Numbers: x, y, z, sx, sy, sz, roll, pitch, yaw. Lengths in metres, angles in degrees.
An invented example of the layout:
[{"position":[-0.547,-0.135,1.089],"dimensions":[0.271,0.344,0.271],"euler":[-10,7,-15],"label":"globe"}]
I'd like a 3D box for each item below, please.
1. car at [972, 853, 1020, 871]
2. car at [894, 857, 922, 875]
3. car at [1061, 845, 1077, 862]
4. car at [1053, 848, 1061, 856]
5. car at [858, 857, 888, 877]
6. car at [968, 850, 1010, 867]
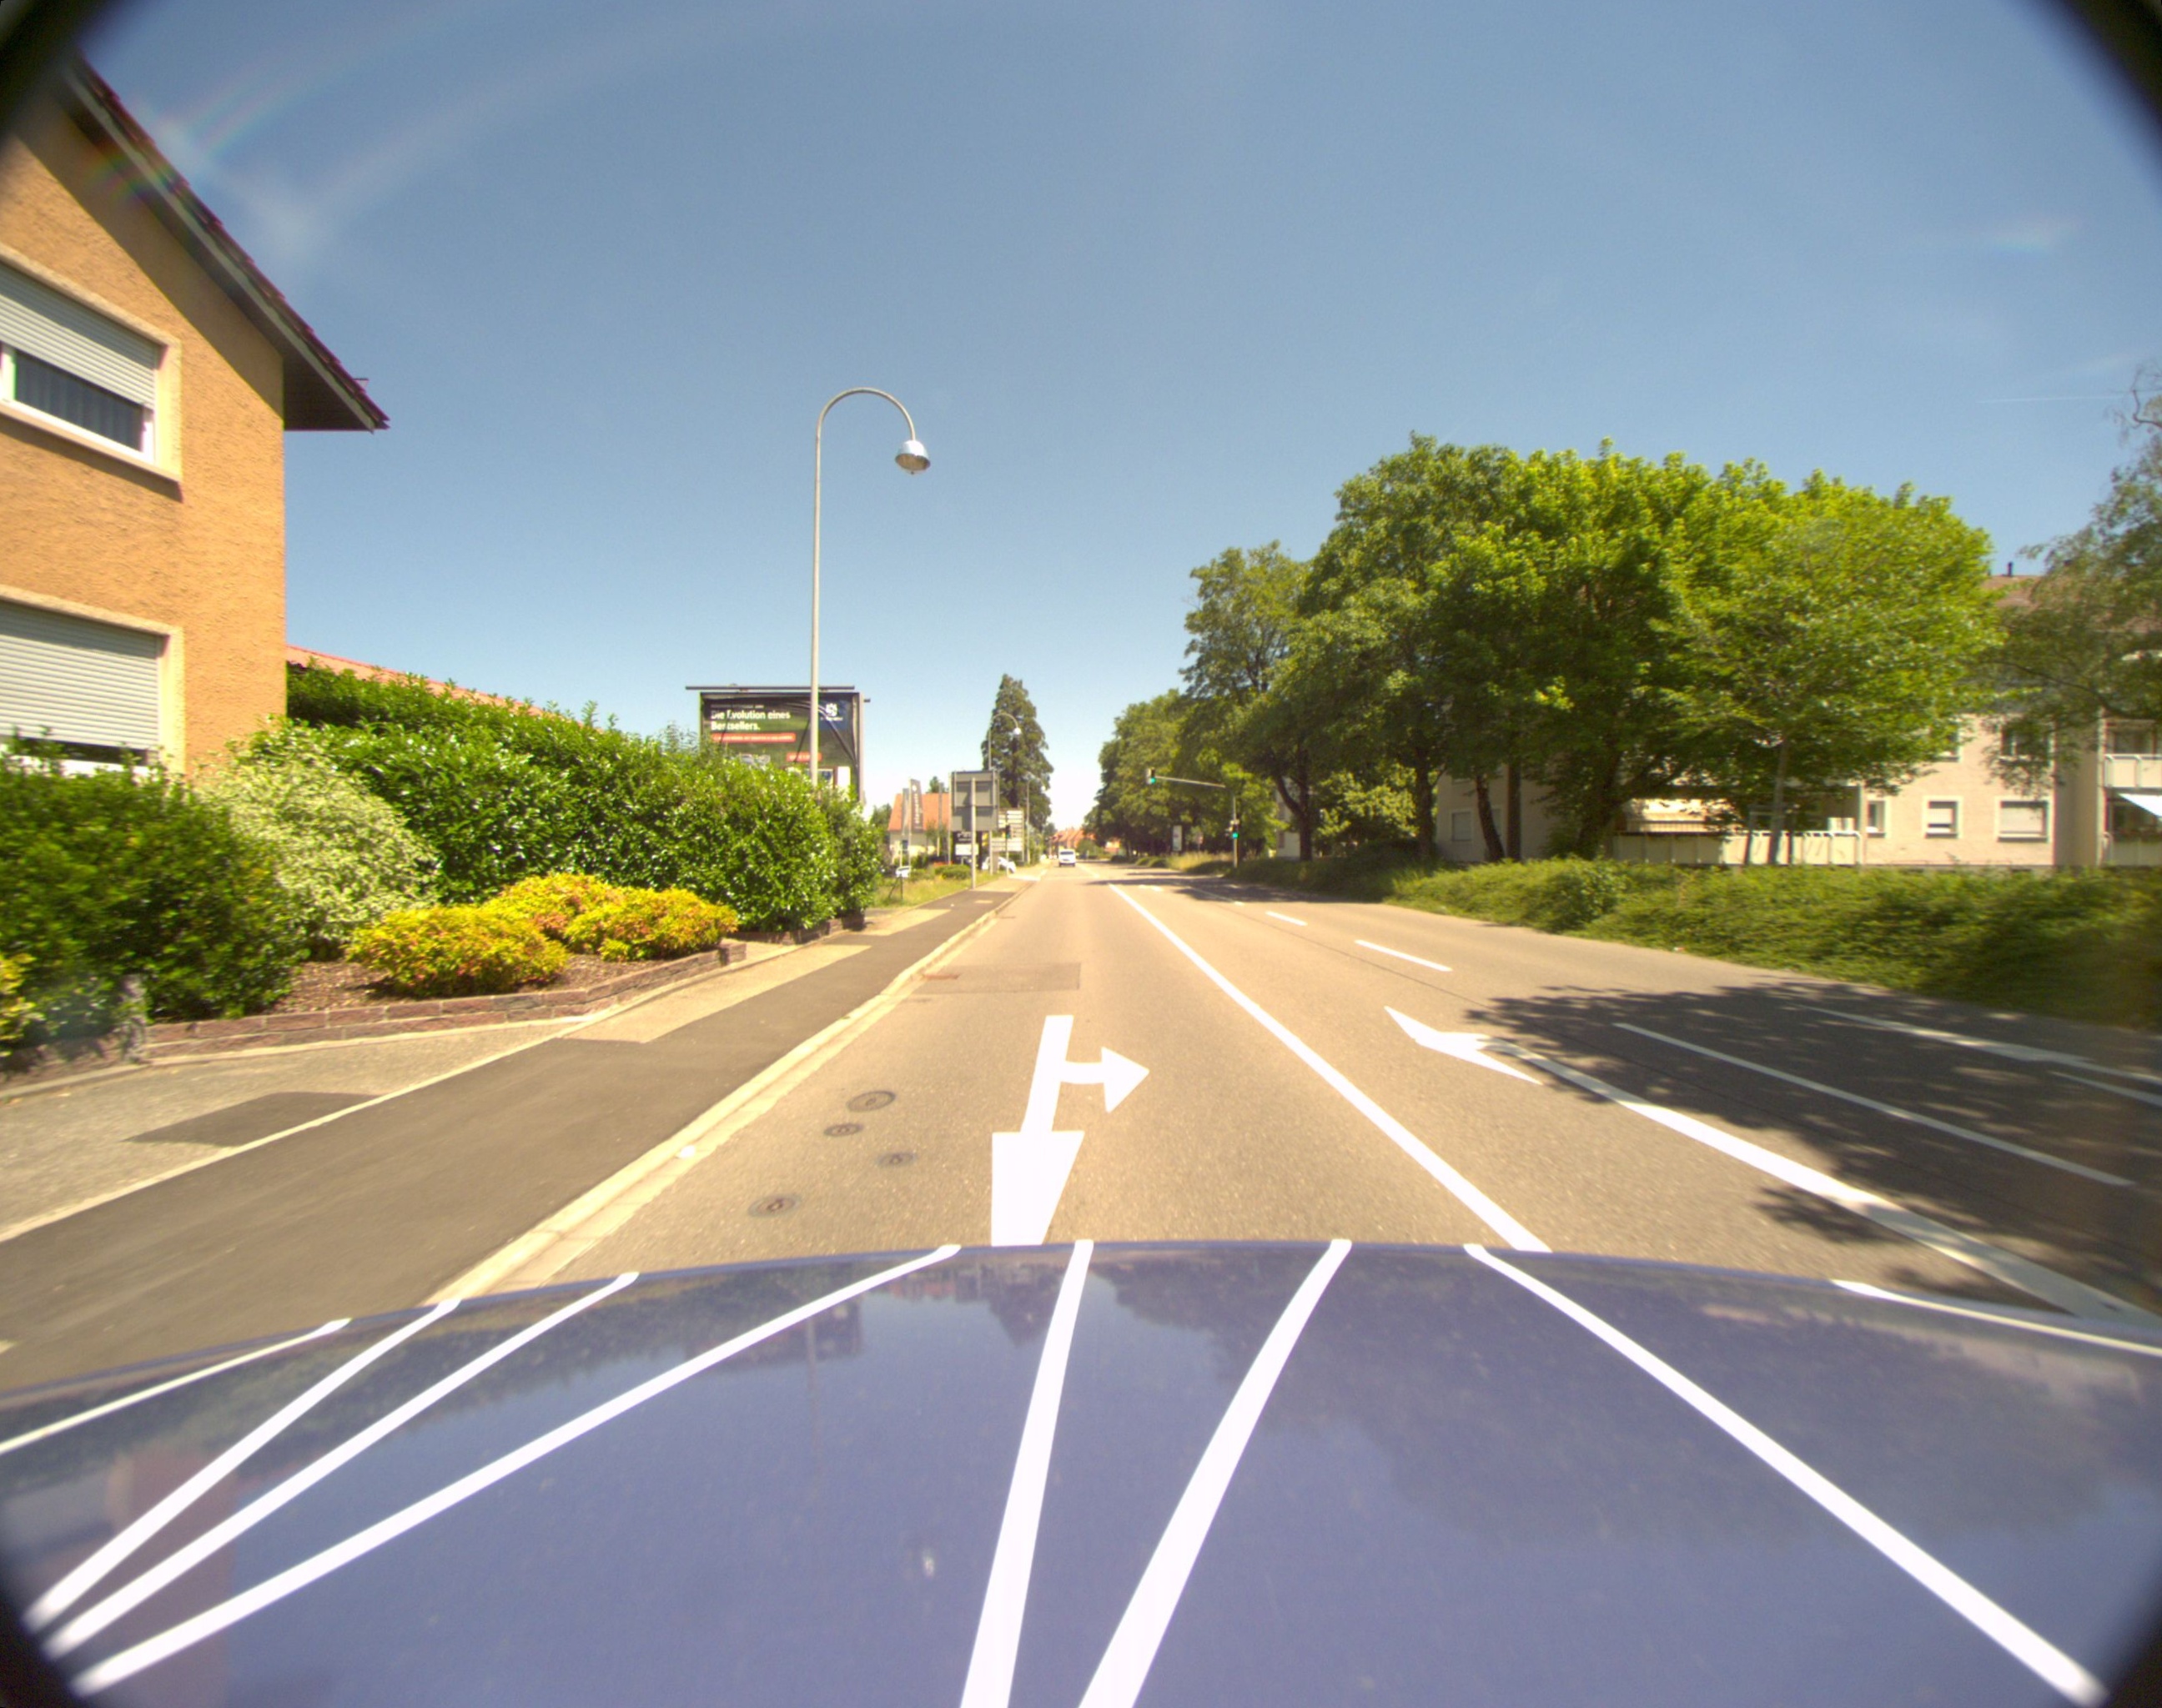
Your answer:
[{"position":[-6.867,0.628,61.601],"dimensions":[3.637,1.375,1.627],"euler":[-1,1,2],"label":"car"},{"position":[-17.688,1.191,77.758],"dimensions":[1.697,1.635,3.700],"euler":[-2,1,5],"label":"car"},{"position":[-1.418,-0.034,87.586],"dimensions":[1.796,1.904,3.639],"euler":[-1,1,-1],"label":"car"},{"position":[-6.382,-0.482,203.948],"dimensions":[1.862,2.002,4.000],"euler":[0,0,2],"label":"car"},{"position":[-19.117,1.173,70.078],"dimensions":[1.698,1.635,3.698],"euler":[-2,1,0],"label":"car"},{"position":[-8.530,0.419,70.326],"dimensions":[3.637,1.542,1.627],"euler":[-1,1,2],"label":"car"}]
